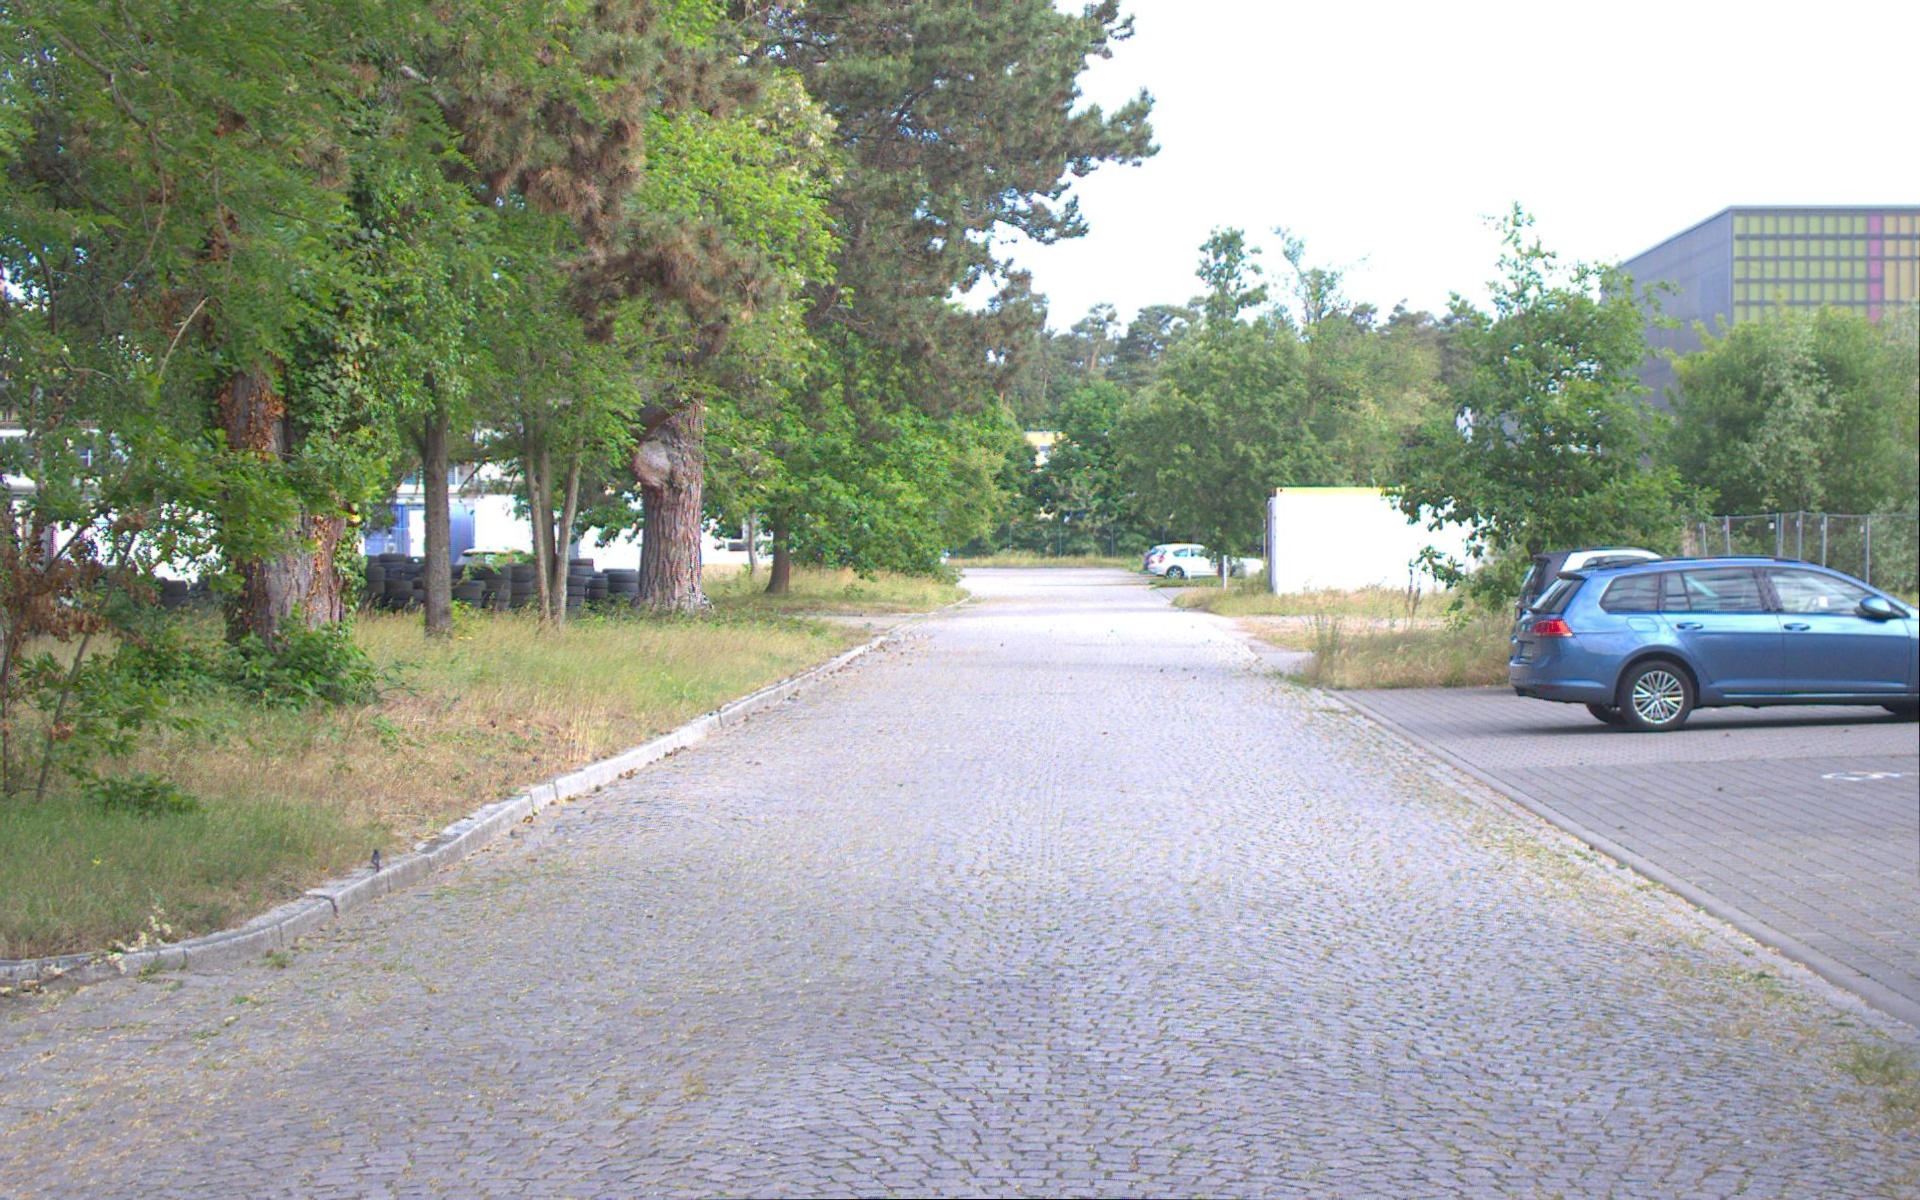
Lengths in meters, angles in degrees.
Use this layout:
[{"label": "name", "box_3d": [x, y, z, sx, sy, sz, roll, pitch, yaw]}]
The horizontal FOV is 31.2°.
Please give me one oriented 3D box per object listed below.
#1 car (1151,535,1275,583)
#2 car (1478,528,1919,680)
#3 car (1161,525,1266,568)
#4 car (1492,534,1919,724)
[{"label": "car", "box_3d": [9.085, -1.493, 123.821, 4.355, 1.682, 1.925, 0, 1, 1]}, {"label": "car", "box_3d": [8.057, 0.027, 37.600, 4.518, 1.526, 2.000, -1, 1, 3]}, {"label": "car", "box_3d": [10.653, -2.271, 144.760, 4.355, 1.774, 1.925, 0, 1, 3]}, {"label": "car", "box_3d": [7.124, 0.221, 30.257, 4.517, 1.526, 2.000, -1, 1, -1]}]
